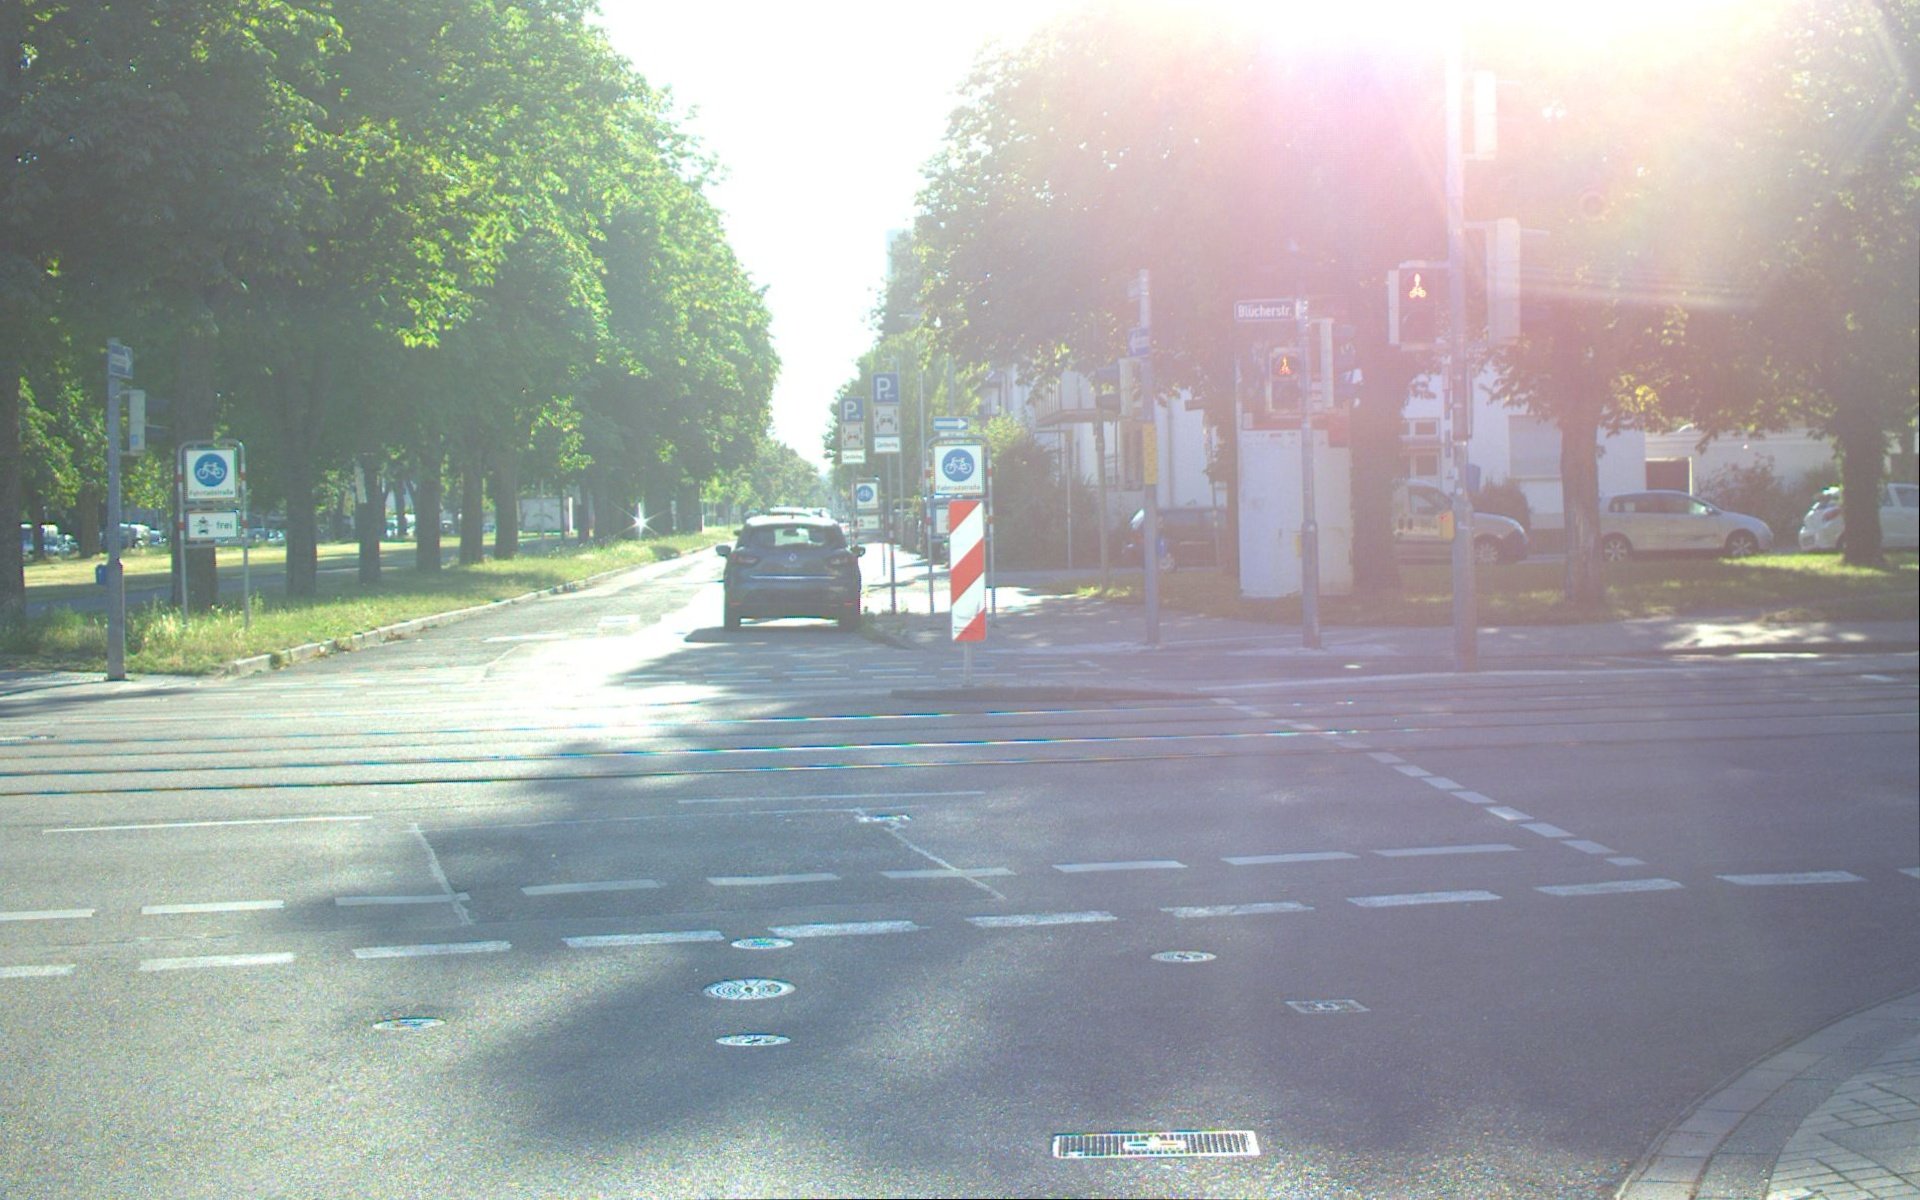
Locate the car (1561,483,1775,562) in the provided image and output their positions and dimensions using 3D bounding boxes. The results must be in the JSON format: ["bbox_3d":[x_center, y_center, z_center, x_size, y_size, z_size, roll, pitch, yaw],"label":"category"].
[{"bbox_3d":[13.423,-1.471,65.232,3.662,1.422,1.532,-1,1,-6],"label":"car"}]

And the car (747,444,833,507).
[{"bbox_3d":[-3.836,-2.815,77.956,1.845,1.389,3.829,-1,2,-1],"label":"car"}]

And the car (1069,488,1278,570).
[{"bbox_3d":[4.012,-1.347,64.961,3.779,1.422,1.744,-1,3,-2],"label":"car"}]

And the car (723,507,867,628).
[{"bbox_3d":[-2.068,-0.441,43.859,1.641,1.446,3.307,-1,2,0],"label":"car"}]

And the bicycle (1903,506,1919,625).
[{"bbox_3d":[10.081,-0.356,32.832,1.954,1.128,0.620,-1,1,1],"label":"bicycle"}]

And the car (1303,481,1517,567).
[{"bbox_3d":[8.518,-1.455,65.287,3.779,1.520,1.744,-1,3,-2],"label":"car"}]

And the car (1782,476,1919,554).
[{"bbox_3d":[17.923,-1.647,66.003,3.844,1.422,1.598,-1,1,-6],"label":"car"}]

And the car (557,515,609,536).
[{"bbox_3d":[-26.845,-5.288,244.806,3.519,1.422,1.603,-1,1,-3],"label":"car"}]
